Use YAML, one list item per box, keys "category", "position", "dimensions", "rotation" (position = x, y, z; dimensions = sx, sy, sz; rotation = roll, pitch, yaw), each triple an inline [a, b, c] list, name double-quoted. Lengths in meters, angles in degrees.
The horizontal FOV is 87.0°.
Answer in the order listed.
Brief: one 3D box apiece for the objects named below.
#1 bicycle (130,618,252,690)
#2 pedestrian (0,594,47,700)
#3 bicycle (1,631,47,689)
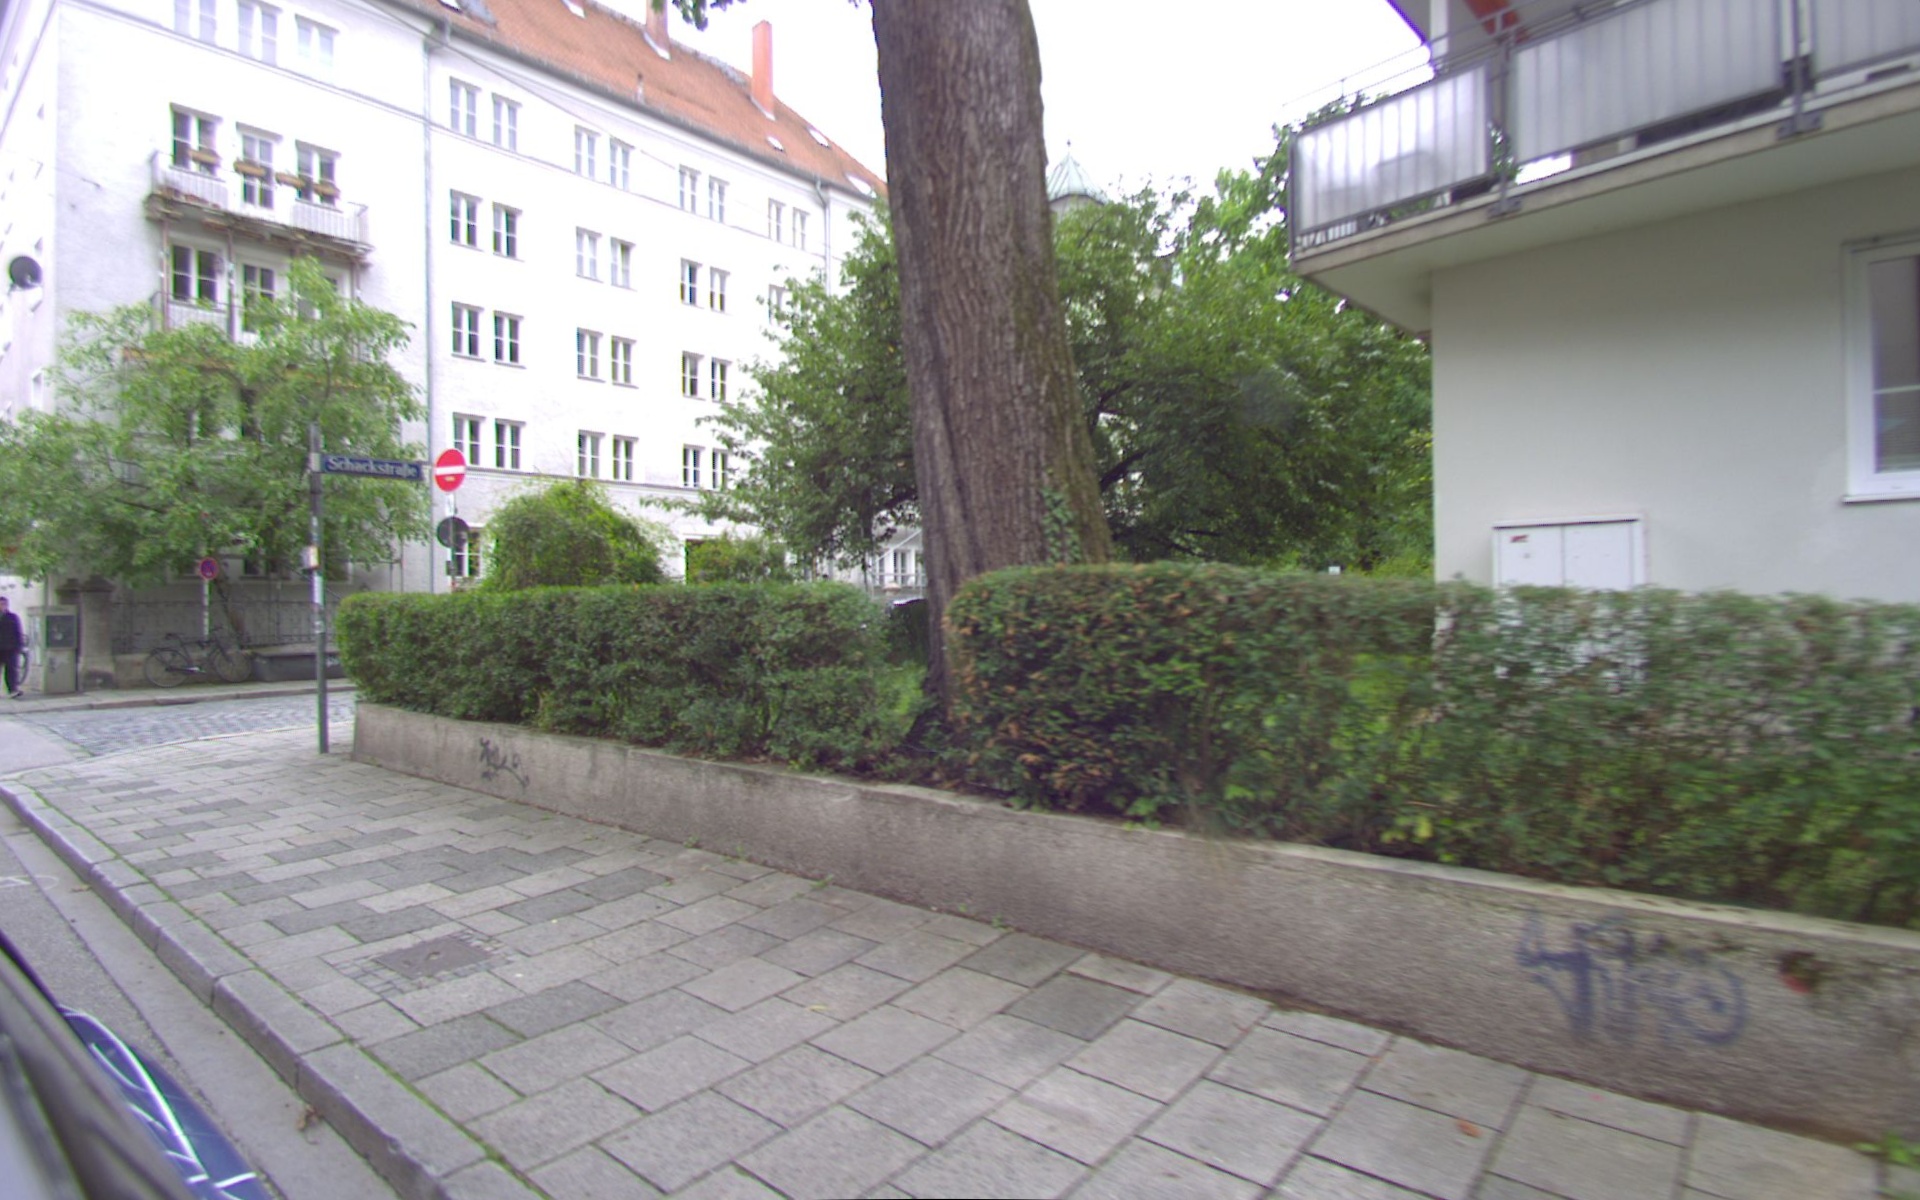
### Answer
- category: "bicycle"
  position: [-14.607, 0.997, 19.265]
  dimensions: [0.432, 1.270, 1.788]
  rotation: [-1, -1, 40]
- category: "pedestrian"
  position: [-16.588, 0.812, 17.682]
  dimensions: [0.739, 1.776, 0.685]
  rotation: [-2, 1, 31]
- category: "bicycle"
  position: [-18.835, 1.186, 20.351]
  dimensions: [1.701, 1.103, 0.426]
  rotation: [-1, 1, 40]
